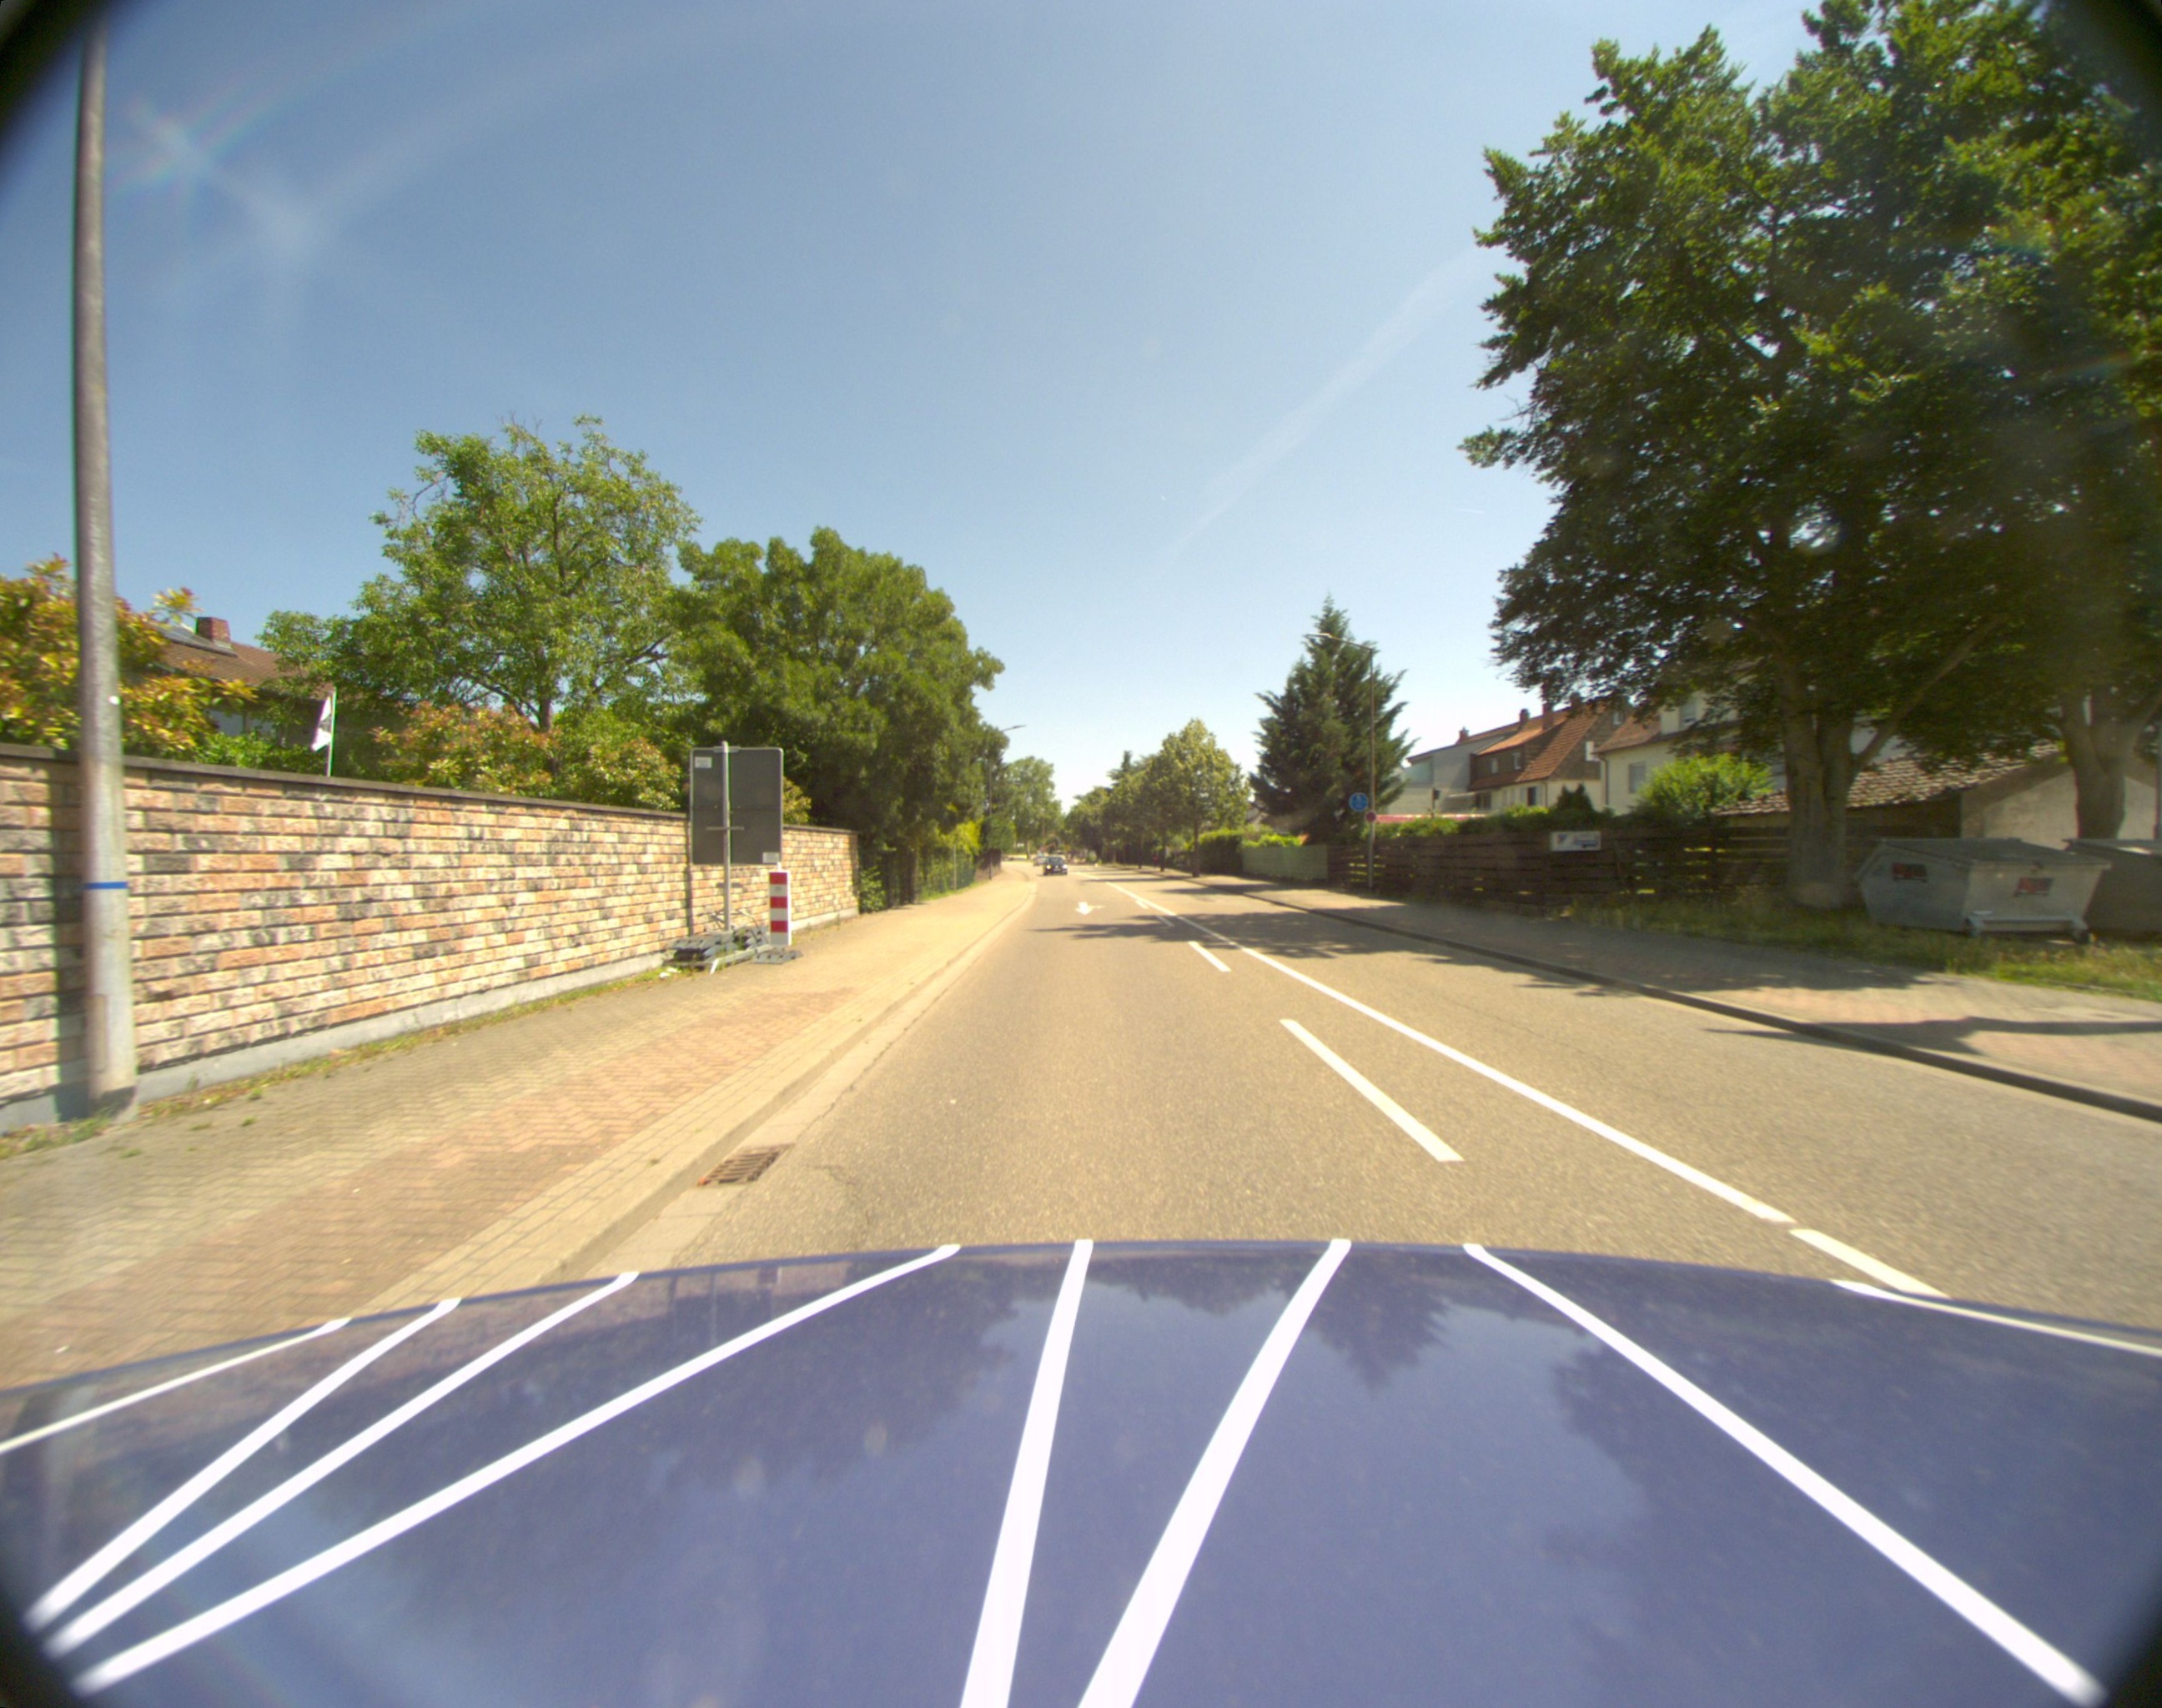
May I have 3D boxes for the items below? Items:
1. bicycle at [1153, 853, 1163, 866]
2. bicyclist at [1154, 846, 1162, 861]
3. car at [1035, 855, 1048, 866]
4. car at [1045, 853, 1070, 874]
[{"bbox_3d":[6.920,0.464,68.572,0.634,1.173,1.815,0,0,-4],"label":"bicycle"},{"bbox_3d":[6.931,-0.052,68.480,0.630,1.400,0.676,0,1,-4],"label":"bicyclist"},{"bbox_3d":[-5.196,0.837,100.728,1.617,1.474,3.705,-1,0,-4],"label":"car"},{"bbox_3d":[-1.809,0.715,58.242,1.608,1.436,3.906,-2,1,-6],"label":"car"}]
